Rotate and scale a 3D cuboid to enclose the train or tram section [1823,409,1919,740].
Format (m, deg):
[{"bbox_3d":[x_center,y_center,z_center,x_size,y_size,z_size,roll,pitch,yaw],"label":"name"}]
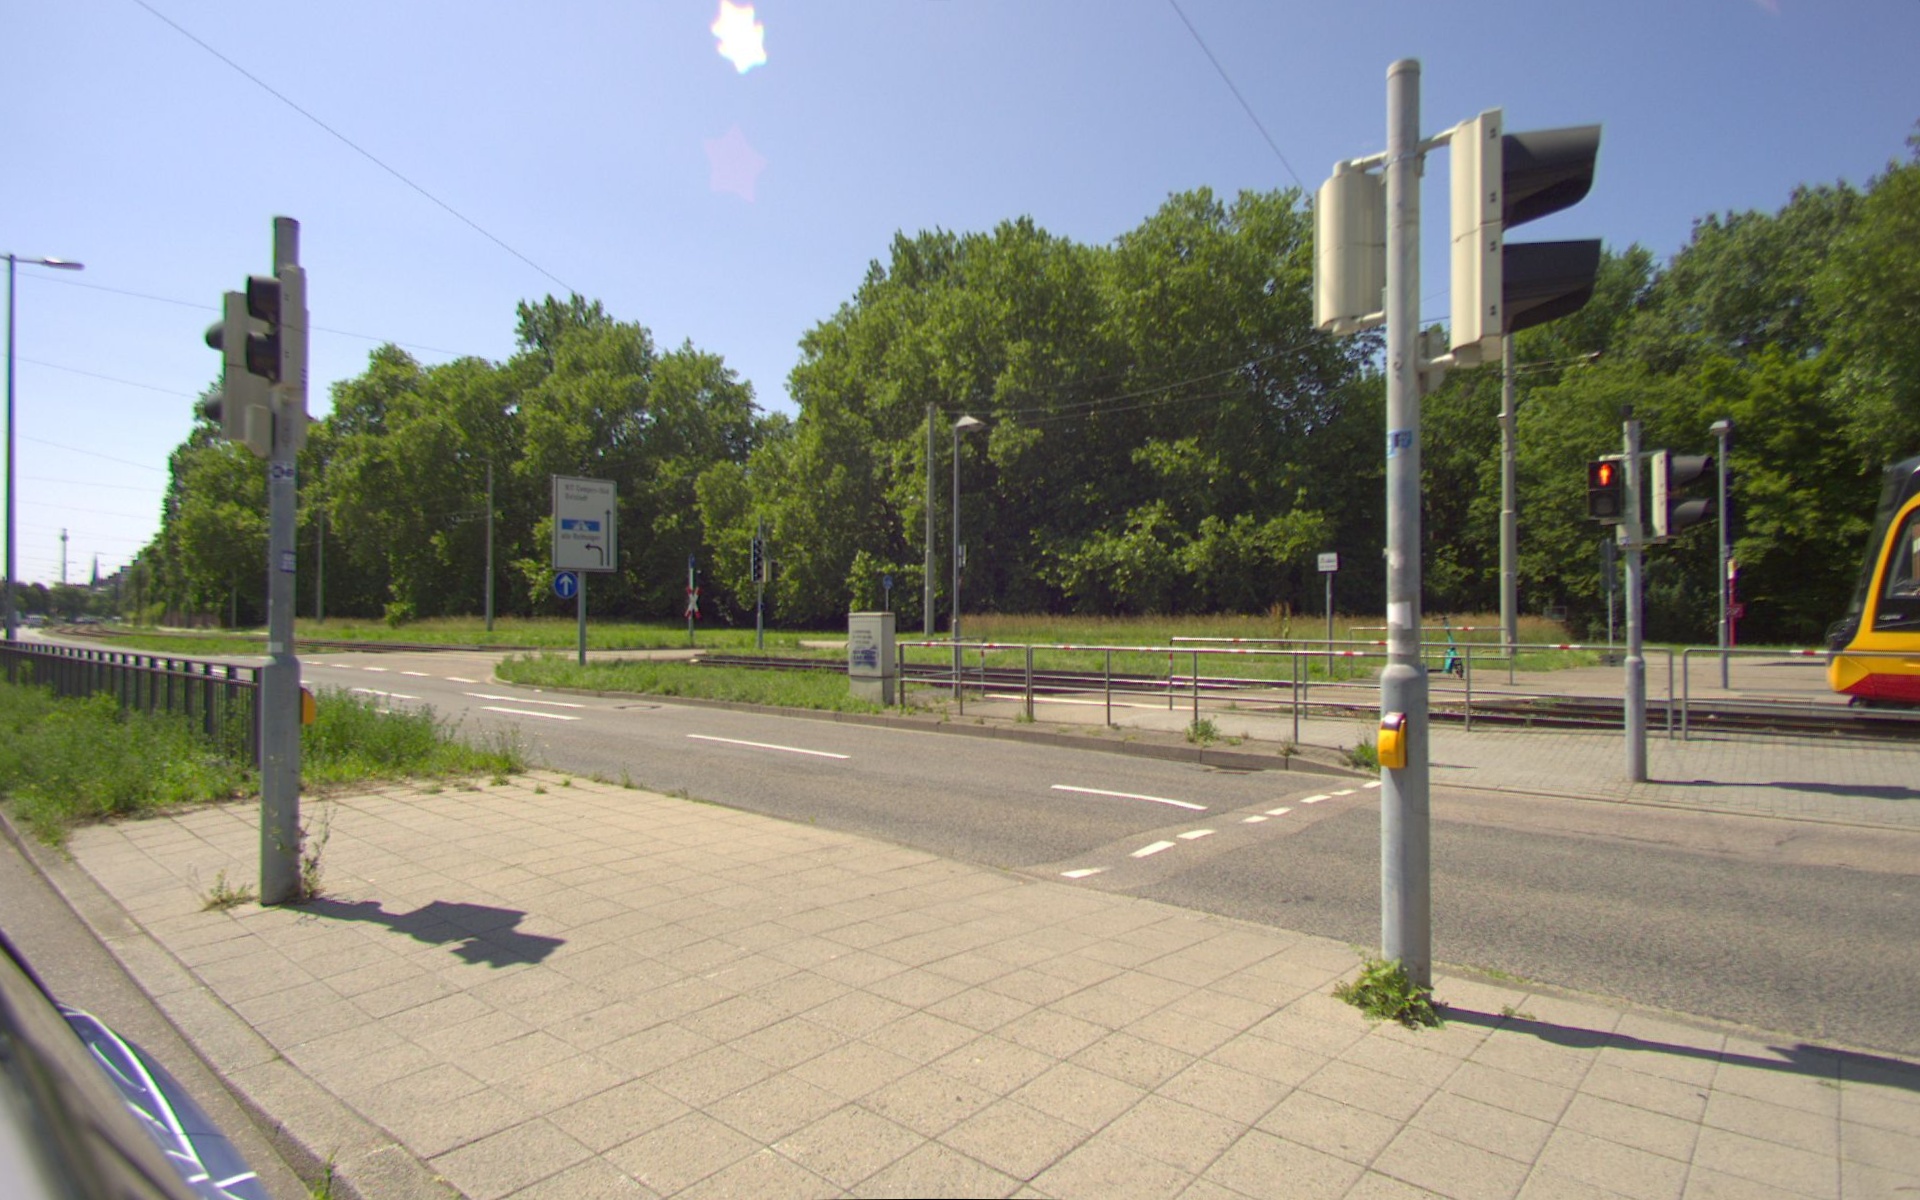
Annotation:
[{"bbox_3d":[15.982,-0.408,9.782,11.533,3.884,2.920,-1,0,41],"label":"train or tram section"}]

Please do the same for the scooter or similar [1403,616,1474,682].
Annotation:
[{"bbox_3d":[9.545,0.959,20.175,1.100,1.246,0.761,-1,0,41],"label":"scooter or similar"}]
